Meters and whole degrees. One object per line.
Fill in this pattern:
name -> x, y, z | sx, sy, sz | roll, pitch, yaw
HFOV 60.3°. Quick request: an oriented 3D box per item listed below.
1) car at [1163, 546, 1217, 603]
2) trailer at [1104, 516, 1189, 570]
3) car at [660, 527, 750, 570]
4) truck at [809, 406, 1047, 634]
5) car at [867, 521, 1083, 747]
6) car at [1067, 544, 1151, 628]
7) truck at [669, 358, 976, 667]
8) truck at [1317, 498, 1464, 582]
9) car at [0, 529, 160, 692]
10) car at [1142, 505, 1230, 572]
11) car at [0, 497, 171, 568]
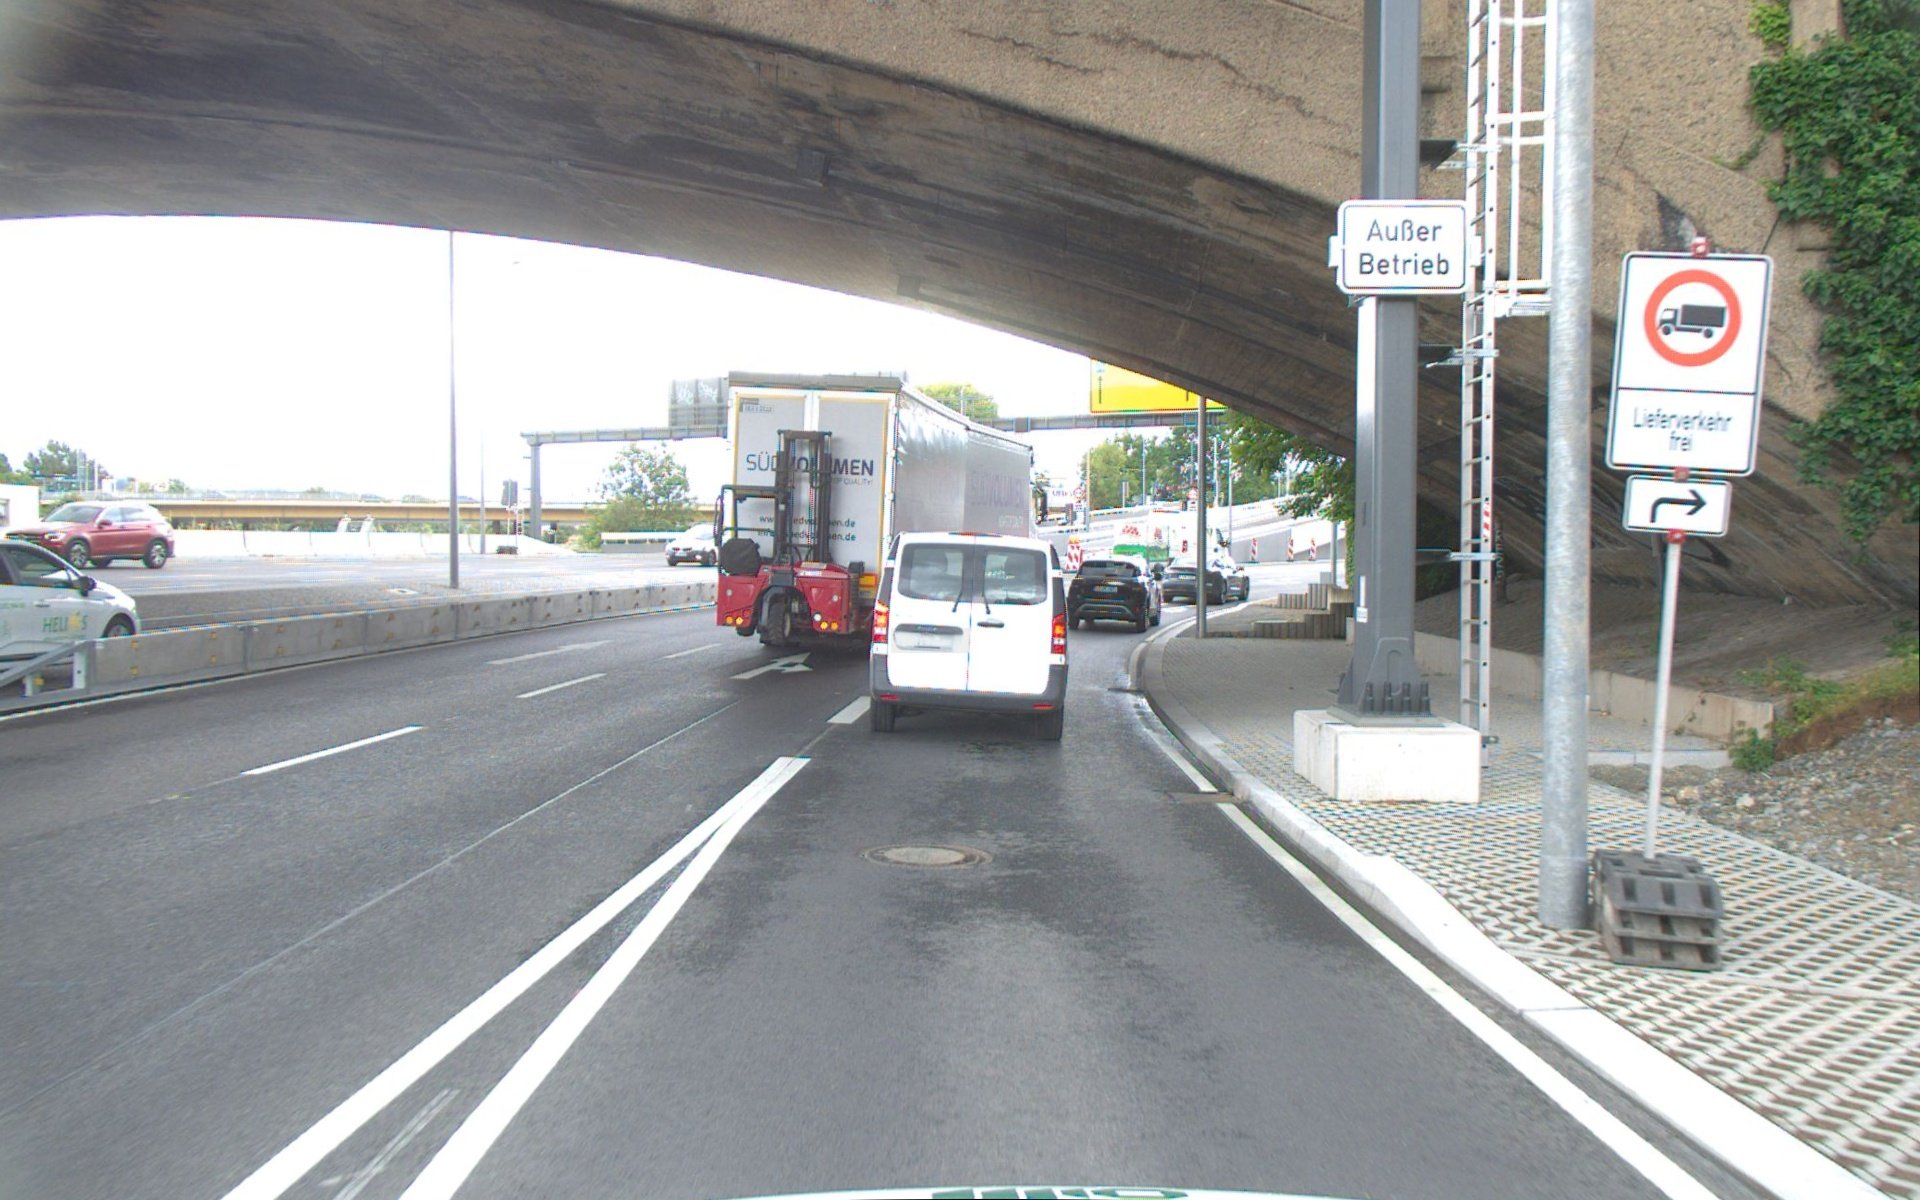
car -> 6.848, -0.786, 49.001 | 1.469, 1.494, 3.403 | 1, 3, 9
trailer -> 7.338, -2.214, 64.718 | 1.955, 1.991, 4.074 | 3, 3, 27
car -> -9.618, -1.972, 62.778 | 1.816, 1.512, 4.547 | 2, 2, 12
truck -> -0.340, -1.691, 37.115 | 2.924, 4.248, 11.252 | 2, 2, 11
car -> 0.157, 0.282, 16.999 | 1.838, 1.924, 4.753 | 2, 0, 1
car -> 3.340, -0.354, 36.514 | 1.712, 1.653, 3.849 | 0, 3, 7
truck -> -1.836, -1.339, 27.467 | 2.856, 4.086, 10.210 | 2, 2, 7
truck -> 22.521, -3.041, 85.508 | 3.255, 3.875, 16.567 | 3, 3, 29
car -> -9.652, 0.054, 16.156 | 1.543, 1.510, 3.999 | 2, 1, 2
car -> 9.460, -2.544, 68.832 | 1.955, 2.585, 5.169 | 3, 3, 27
car -> -21.785, -1.697, 41.263 | 1.662, 1.644, 4.001 | 2, 3, 13
